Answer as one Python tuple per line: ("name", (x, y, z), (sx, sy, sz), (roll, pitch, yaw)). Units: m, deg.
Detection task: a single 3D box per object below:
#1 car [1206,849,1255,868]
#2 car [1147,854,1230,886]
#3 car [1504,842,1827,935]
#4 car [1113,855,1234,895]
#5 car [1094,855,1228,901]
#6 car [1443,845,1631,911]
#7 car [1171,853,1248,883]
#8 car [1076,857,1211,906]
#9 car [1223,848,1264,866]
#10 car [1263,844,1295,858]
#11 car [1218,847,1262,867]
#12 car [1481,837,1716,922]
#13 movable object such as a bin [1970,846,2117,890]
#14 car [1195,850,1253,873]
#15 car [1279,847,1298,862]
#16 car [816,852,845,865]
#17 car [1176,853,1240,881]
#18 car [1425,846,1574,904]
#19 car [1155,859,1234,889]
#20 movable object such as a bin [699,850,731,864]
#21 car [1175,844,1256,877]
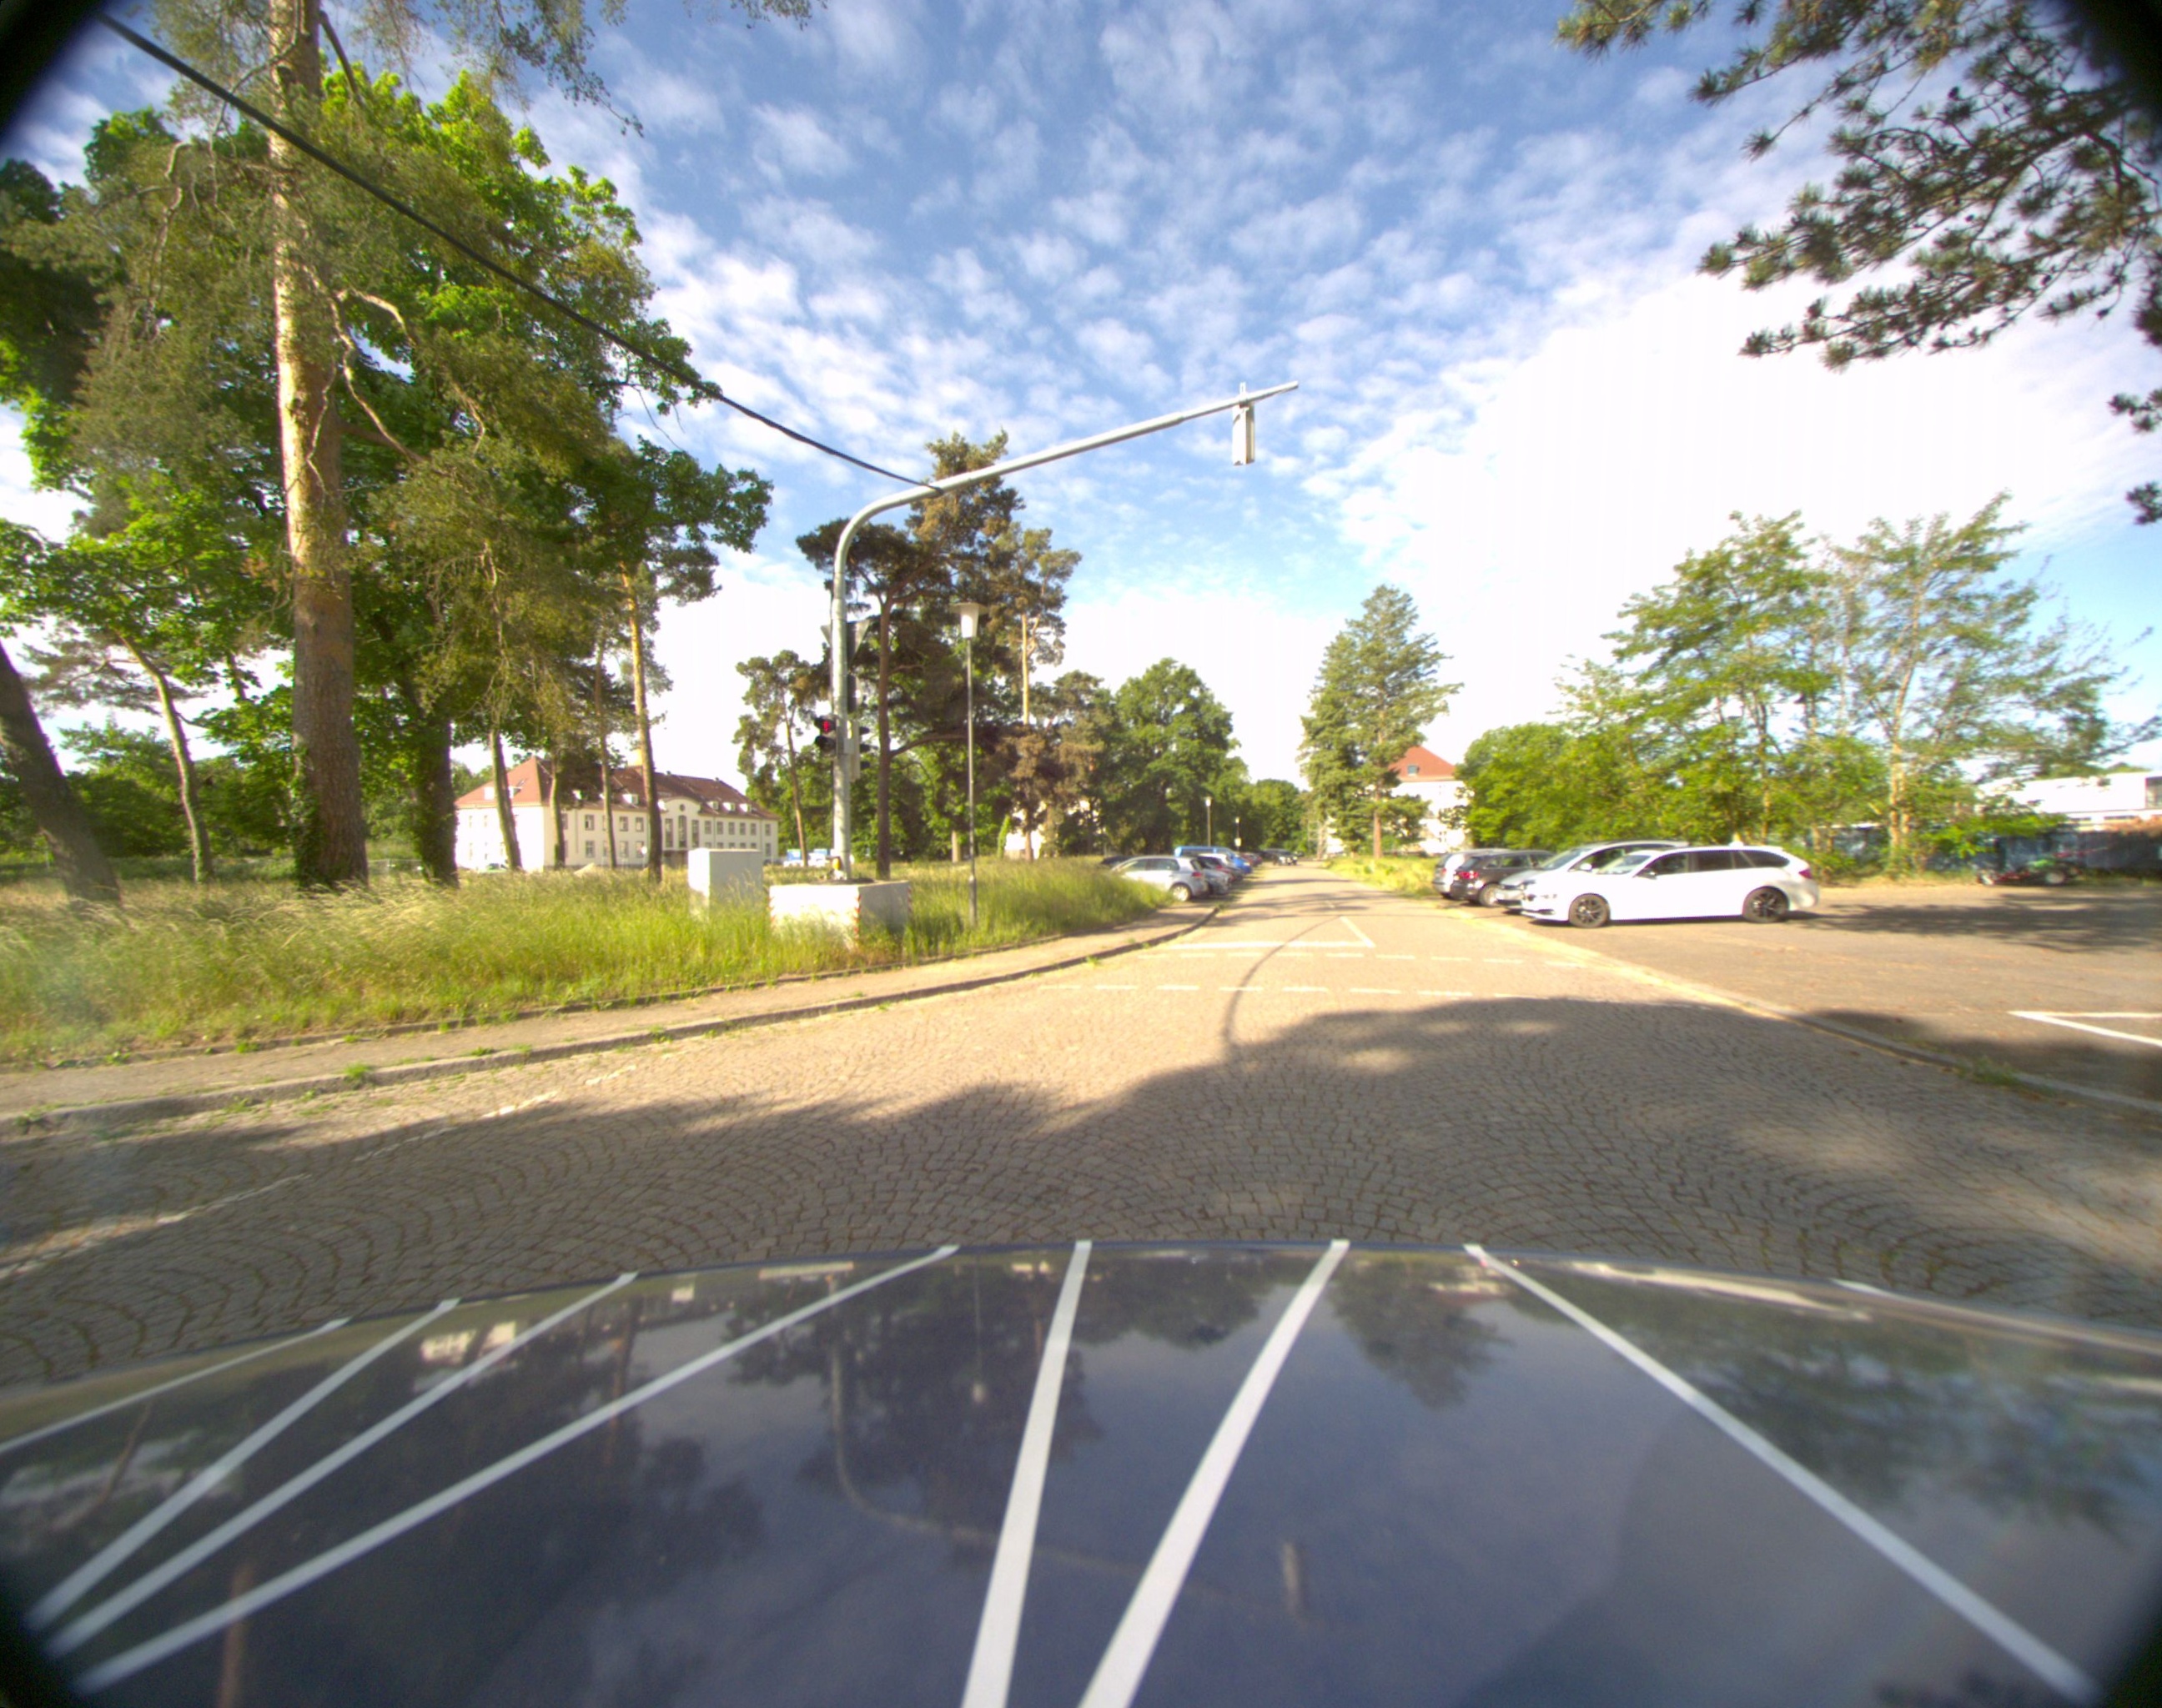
("car", (12.959, 0.392, 65.960), (3.991, 1.509, 1.759), (-1, 1, 18))
("car", (5.163, 0.756, 36.400), (3.775, 1.482, 1.551), (-1, 1, 14))
("car", (10.926, 0.645, 14.568), (4.548, 1.459, 1.754), (-3, 0, 12))
("car", (3.609, 0.781, 29.422), (4.417, 1.394, 1.828), (1, 1, 14))
("car", (2.843, 0.799, 26.740), (4.501, 1.508, 1.827), (0, 1, 12))
("car", (11.723, 0.610, 19.804), (3.803, 1.462, 1.689), (-4, 0, 14))
("car", (6.603, 0.697, 39.126), (3.617, 1.482, 1.510), (-1, 1, 25))
("car", (2.021, 0.834, 24.225), (4.021, 1.452, 1.873), (0, 1, 15))
("car", (17.155, 0.301, 80.164), (3.992, 1.605, 1.759), (-4, 1, 19))
("car", (32.945, -0.475, 126.558), (5.062, 2.251, 2.002), (-1, 1, 15))
("car", (15.810, 0.294, 75.559), (3.992, 1.731, 1.759), (-3, 0, 18))
("car", (11.446, 0.554, 17.088), (3.950, 1.616, 1.723), (-4, 0, 10))
("movable object such as a bin", (25.383, 0.371, 20.086), (2.282, 1.101, 0.998), (-1, 1, 13))
("car", (10.499, 0.525, 55.884), (3.991, 1.630, 1.759), (-1, 1, 18))
("car", (22.609, 0.039, 82.802), (1.866, 1.576, 4.004), (-1, 0, 13))
("car", (-38.901, 0.677, 118.126), (1.996, 2.002, 4.778), (-1, 0, 16))
("car", (7.030, 0.700, 41.968), (3.260, 1.482, 1.451), (-1, 1, 17))
("car", (12.267, 0.605, 22.464), (3.470, 1.462, 1.638), (-4, 0, 12))
("car", (5.060, 0.868, 33.768), (3.353, 1.248, 1.421), (-1, 1, 14))
("movable object such as a bin", (-59.992, 0.444, 124.614), (1.997, 2.309, 4.991), (-1, 0, 12))
("car", (8.356, 0.391, 47.192), (4.721, 2.002, 2.002), (-1, 1, 16))
